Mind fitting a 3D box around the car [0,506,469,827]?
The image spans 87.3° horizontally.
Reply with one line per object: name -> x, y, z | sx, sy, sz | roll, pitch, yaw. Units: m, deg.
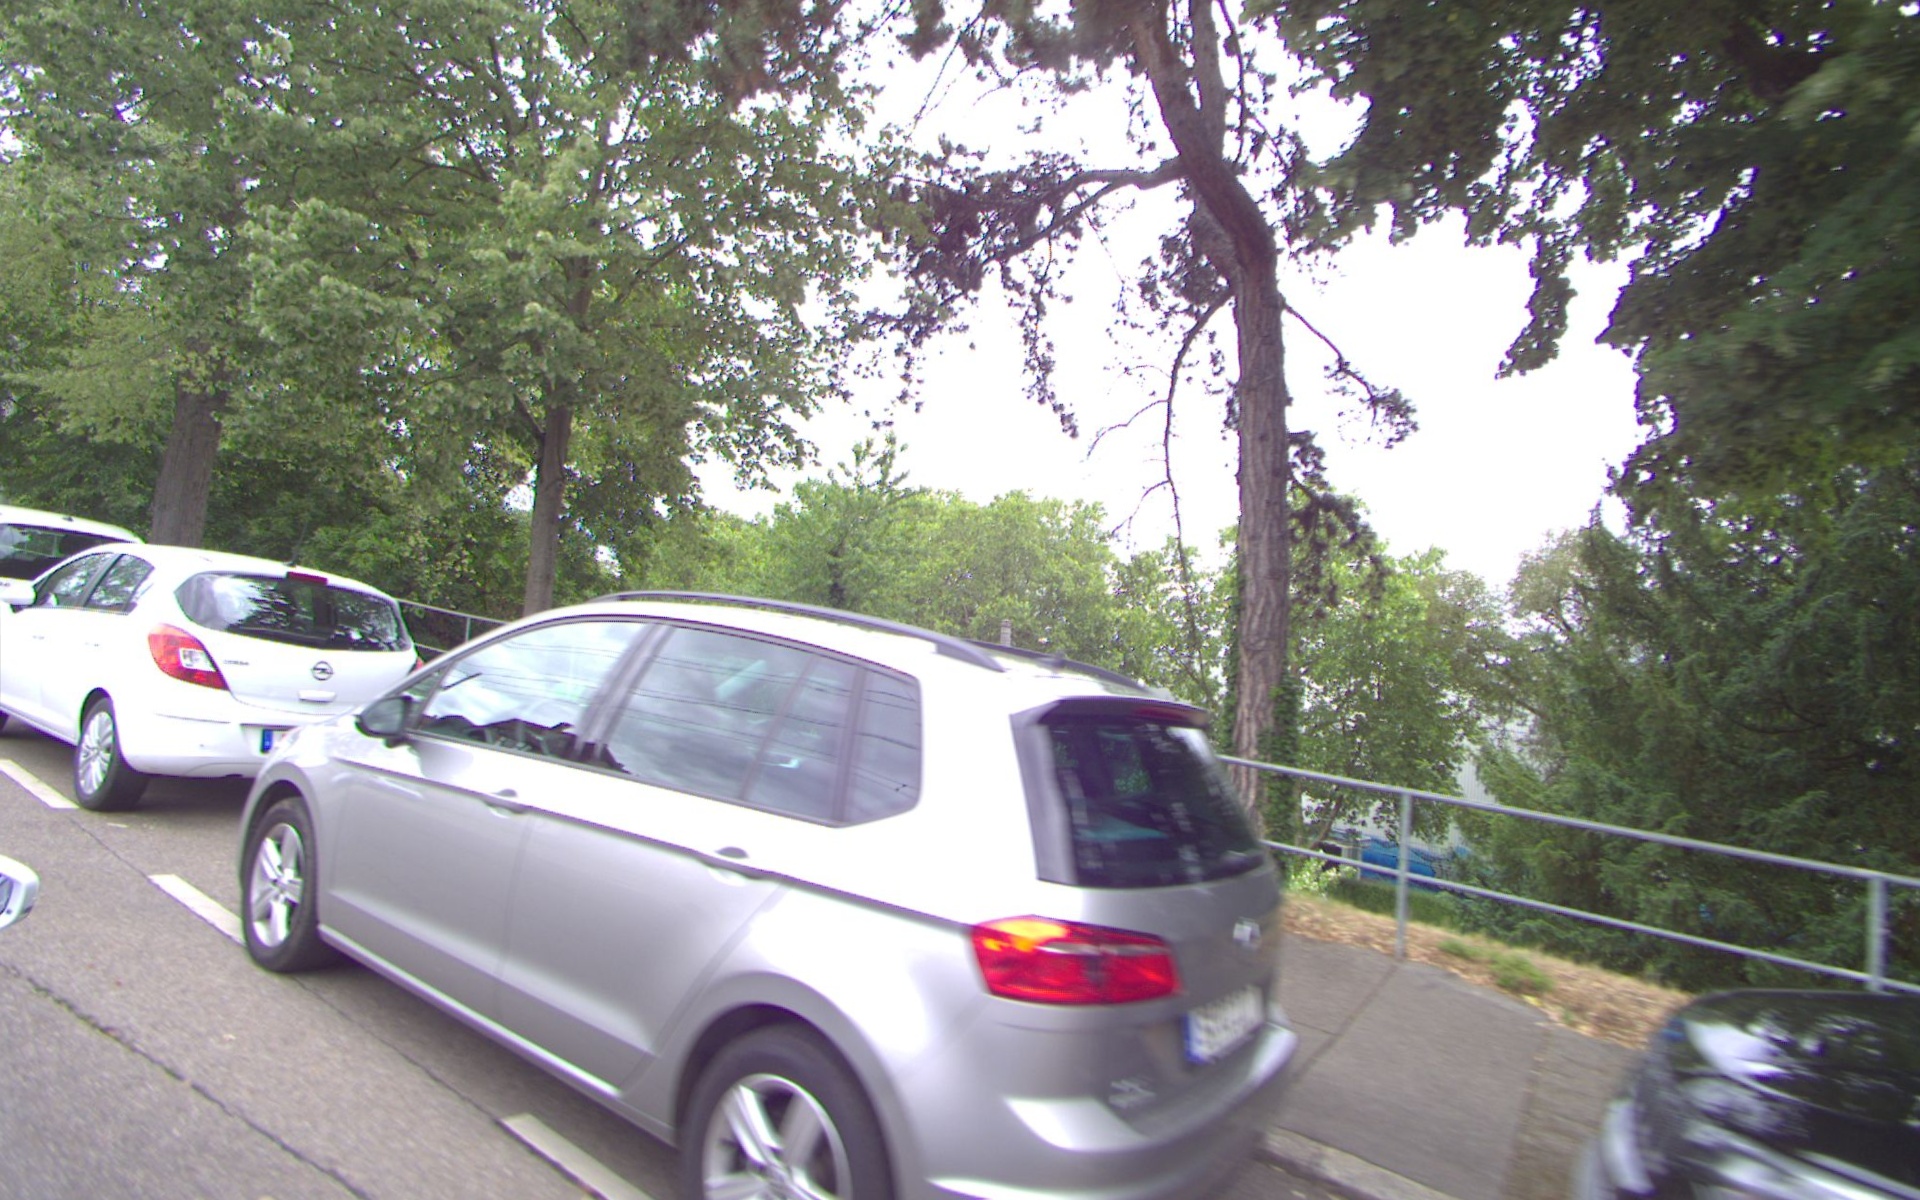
car -> -5.376, 0.331, 6.896 | 3.998, 1.532, 1.634 | 6, -5, 33

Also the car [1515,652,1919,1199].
car -> 3.178, 1.204, 0.918 | 4.529, 1.632, 1.907 | 6, -3, 37

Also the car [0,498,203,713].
car -> -9.275, -0.109, 9.686 | 4.022, 1.647, 1.732 | 6, -6, 34

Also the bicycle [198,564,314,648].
bicycle -> -9.930, 0.075, 14.179 | 1.763, 0.987, 0.428 | 6, -2, 25

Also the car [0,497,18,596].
car -> -14.125, -0.739, 12.905 | 4.984, 1.695, 1.881 | 6, -4, 36

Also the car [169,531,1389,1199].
car -> -0.967, 0.781, 3.691 | 4.296, 1.593, 1.736 | 6, -3, 35
